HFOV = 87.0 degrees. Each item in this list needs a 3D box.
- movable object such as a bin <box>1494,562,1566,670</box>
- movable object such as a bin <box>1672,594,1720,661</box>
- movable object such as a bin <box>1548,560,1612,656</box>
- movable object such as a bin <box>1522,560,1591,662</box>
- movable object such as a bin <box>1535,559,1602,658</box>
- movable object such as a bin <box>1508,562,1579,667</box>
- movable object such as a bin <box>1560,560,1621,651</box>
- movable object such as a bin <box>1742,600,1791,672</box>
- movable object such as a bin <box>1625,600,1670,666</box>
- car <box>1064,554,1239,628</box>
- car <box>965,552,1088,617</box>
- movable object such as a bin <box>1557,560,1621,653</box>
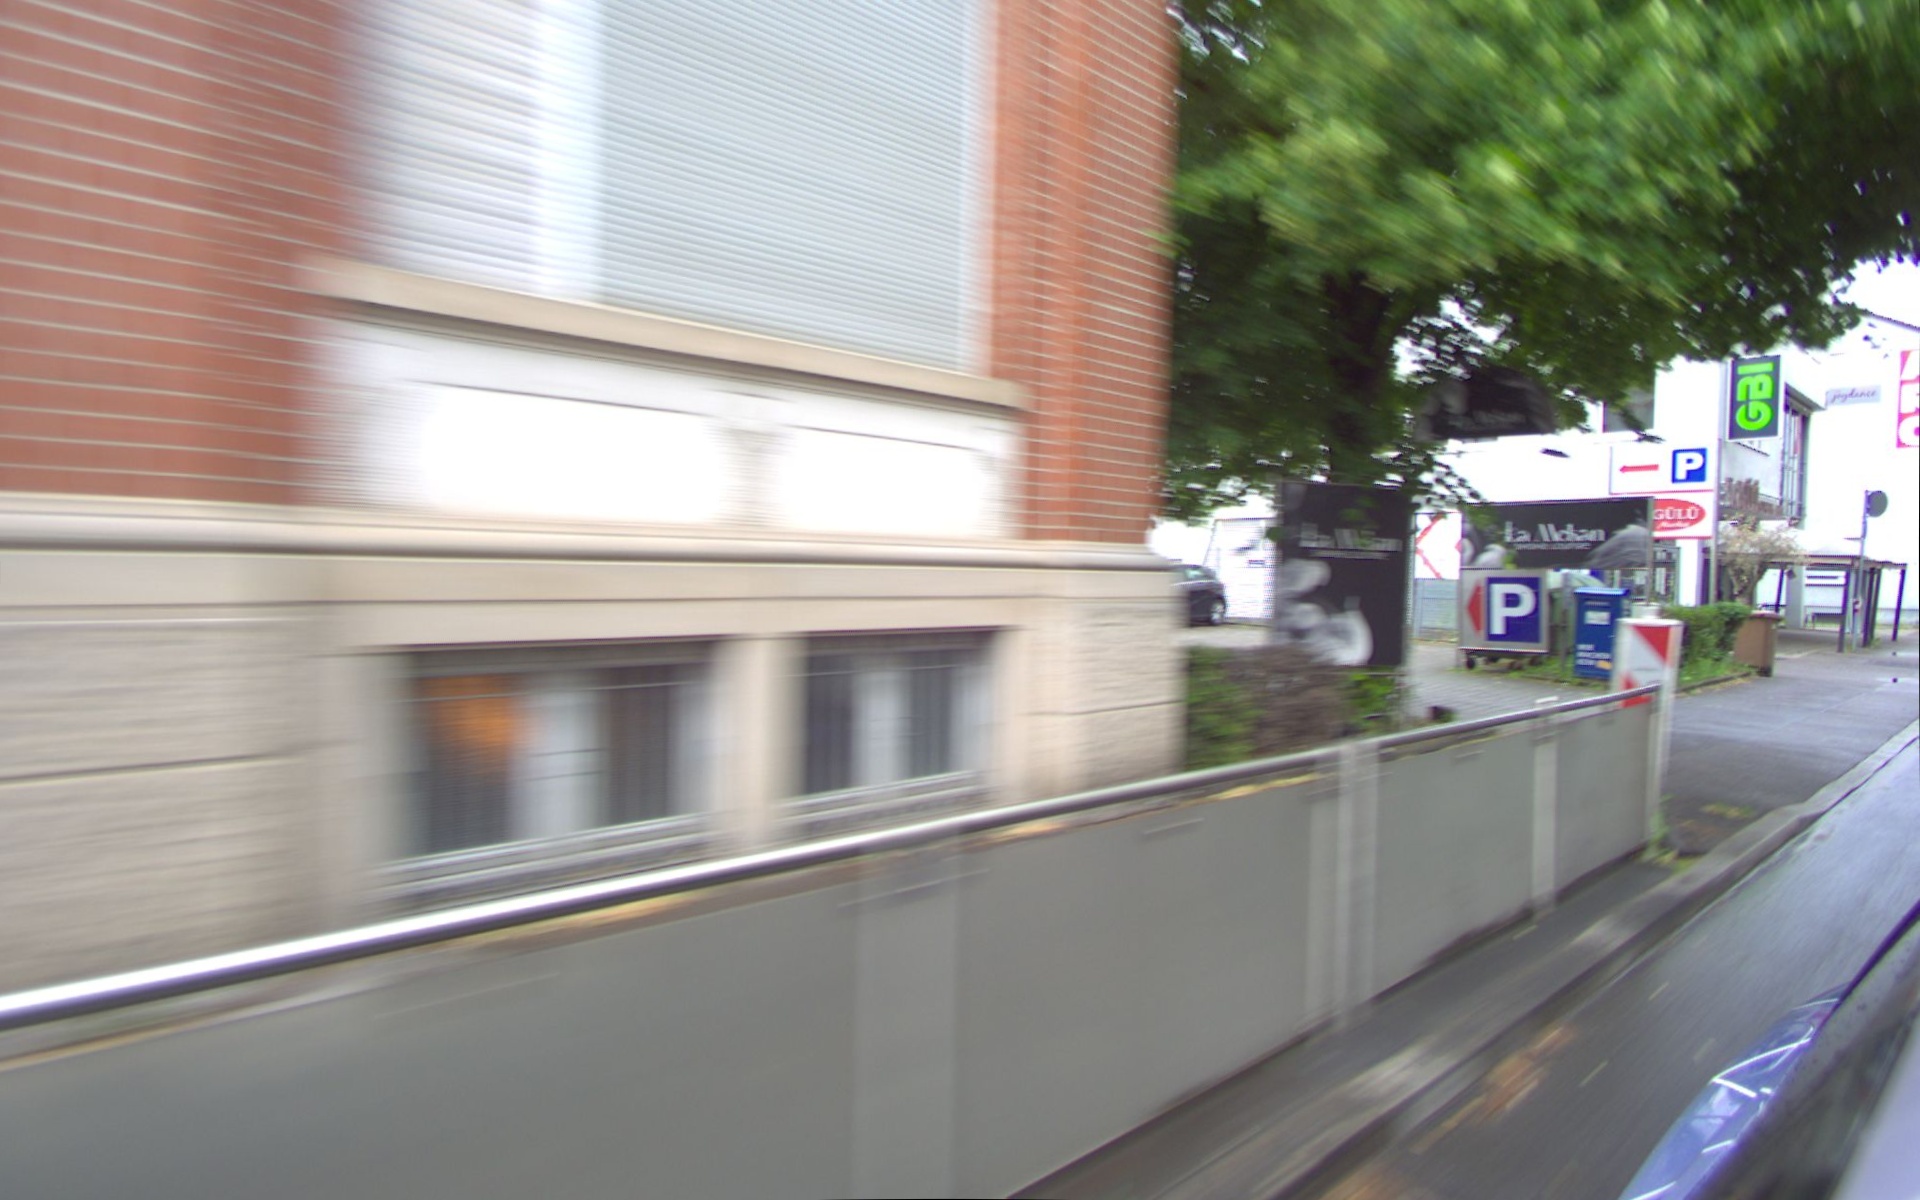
[{"bbox_3d":[8.356,0.211,14.847,0.615,1.519,0.738,0,2,-44],"label":"movable object such as a bin"},{"bbox_3d":[12.806,0.462,17.607,0.551,1.129,0.532,0,2,-38],"label":"movable object such as a bin"},{"bbox_3d":[10.198,0.111,16.650,0.615,1.527,0.738,0,2,-44],"label":"movable object such as a bin"},{"bbox_3d":[9.254,0.147,15.708,0.615,1.527,0.738,0,2,-44],"label":"movable object such as a bin"},{"bbox_3d":[9.736,0.119,16.197,0.615,1.527,0.738,0,2,-44],"label":"movable object such as a bin"},{"bbox_3d":[8.796,0.197,15.262,0.615,1.527,0.738,0,2,-44],"label":"movable object such as a bin"},{"bbox_3d":[10.995,0.081,17.647,0.615,1.527,0.738,0,2,-44],"label":"movable object such as a bin"},{"bbox_3d":[13.239,0.580,16.610,0.607,1.129,0.505,0,2,-40],"label":"movable object such as a bin"},{"bbox_3d":[12.298,0.583,18.108,0.607,1.129,0.505,0,2,-40],"label":"movable object such as a bin"},{"bbox_3d":[4.329,-0.263,22.574,4.061,1.504,1.667,-2,4,-41],"label":"car"},{"bbox_3d":[1.739,-0.404,25.578,1.511,1.504,3.476,3,2,34],"label":"car"},{"bbox_3d":[10.638,0.091,17.116,0.615,1.527,0.738,0,2,-44],"label":"movable object such as a bin"}]
